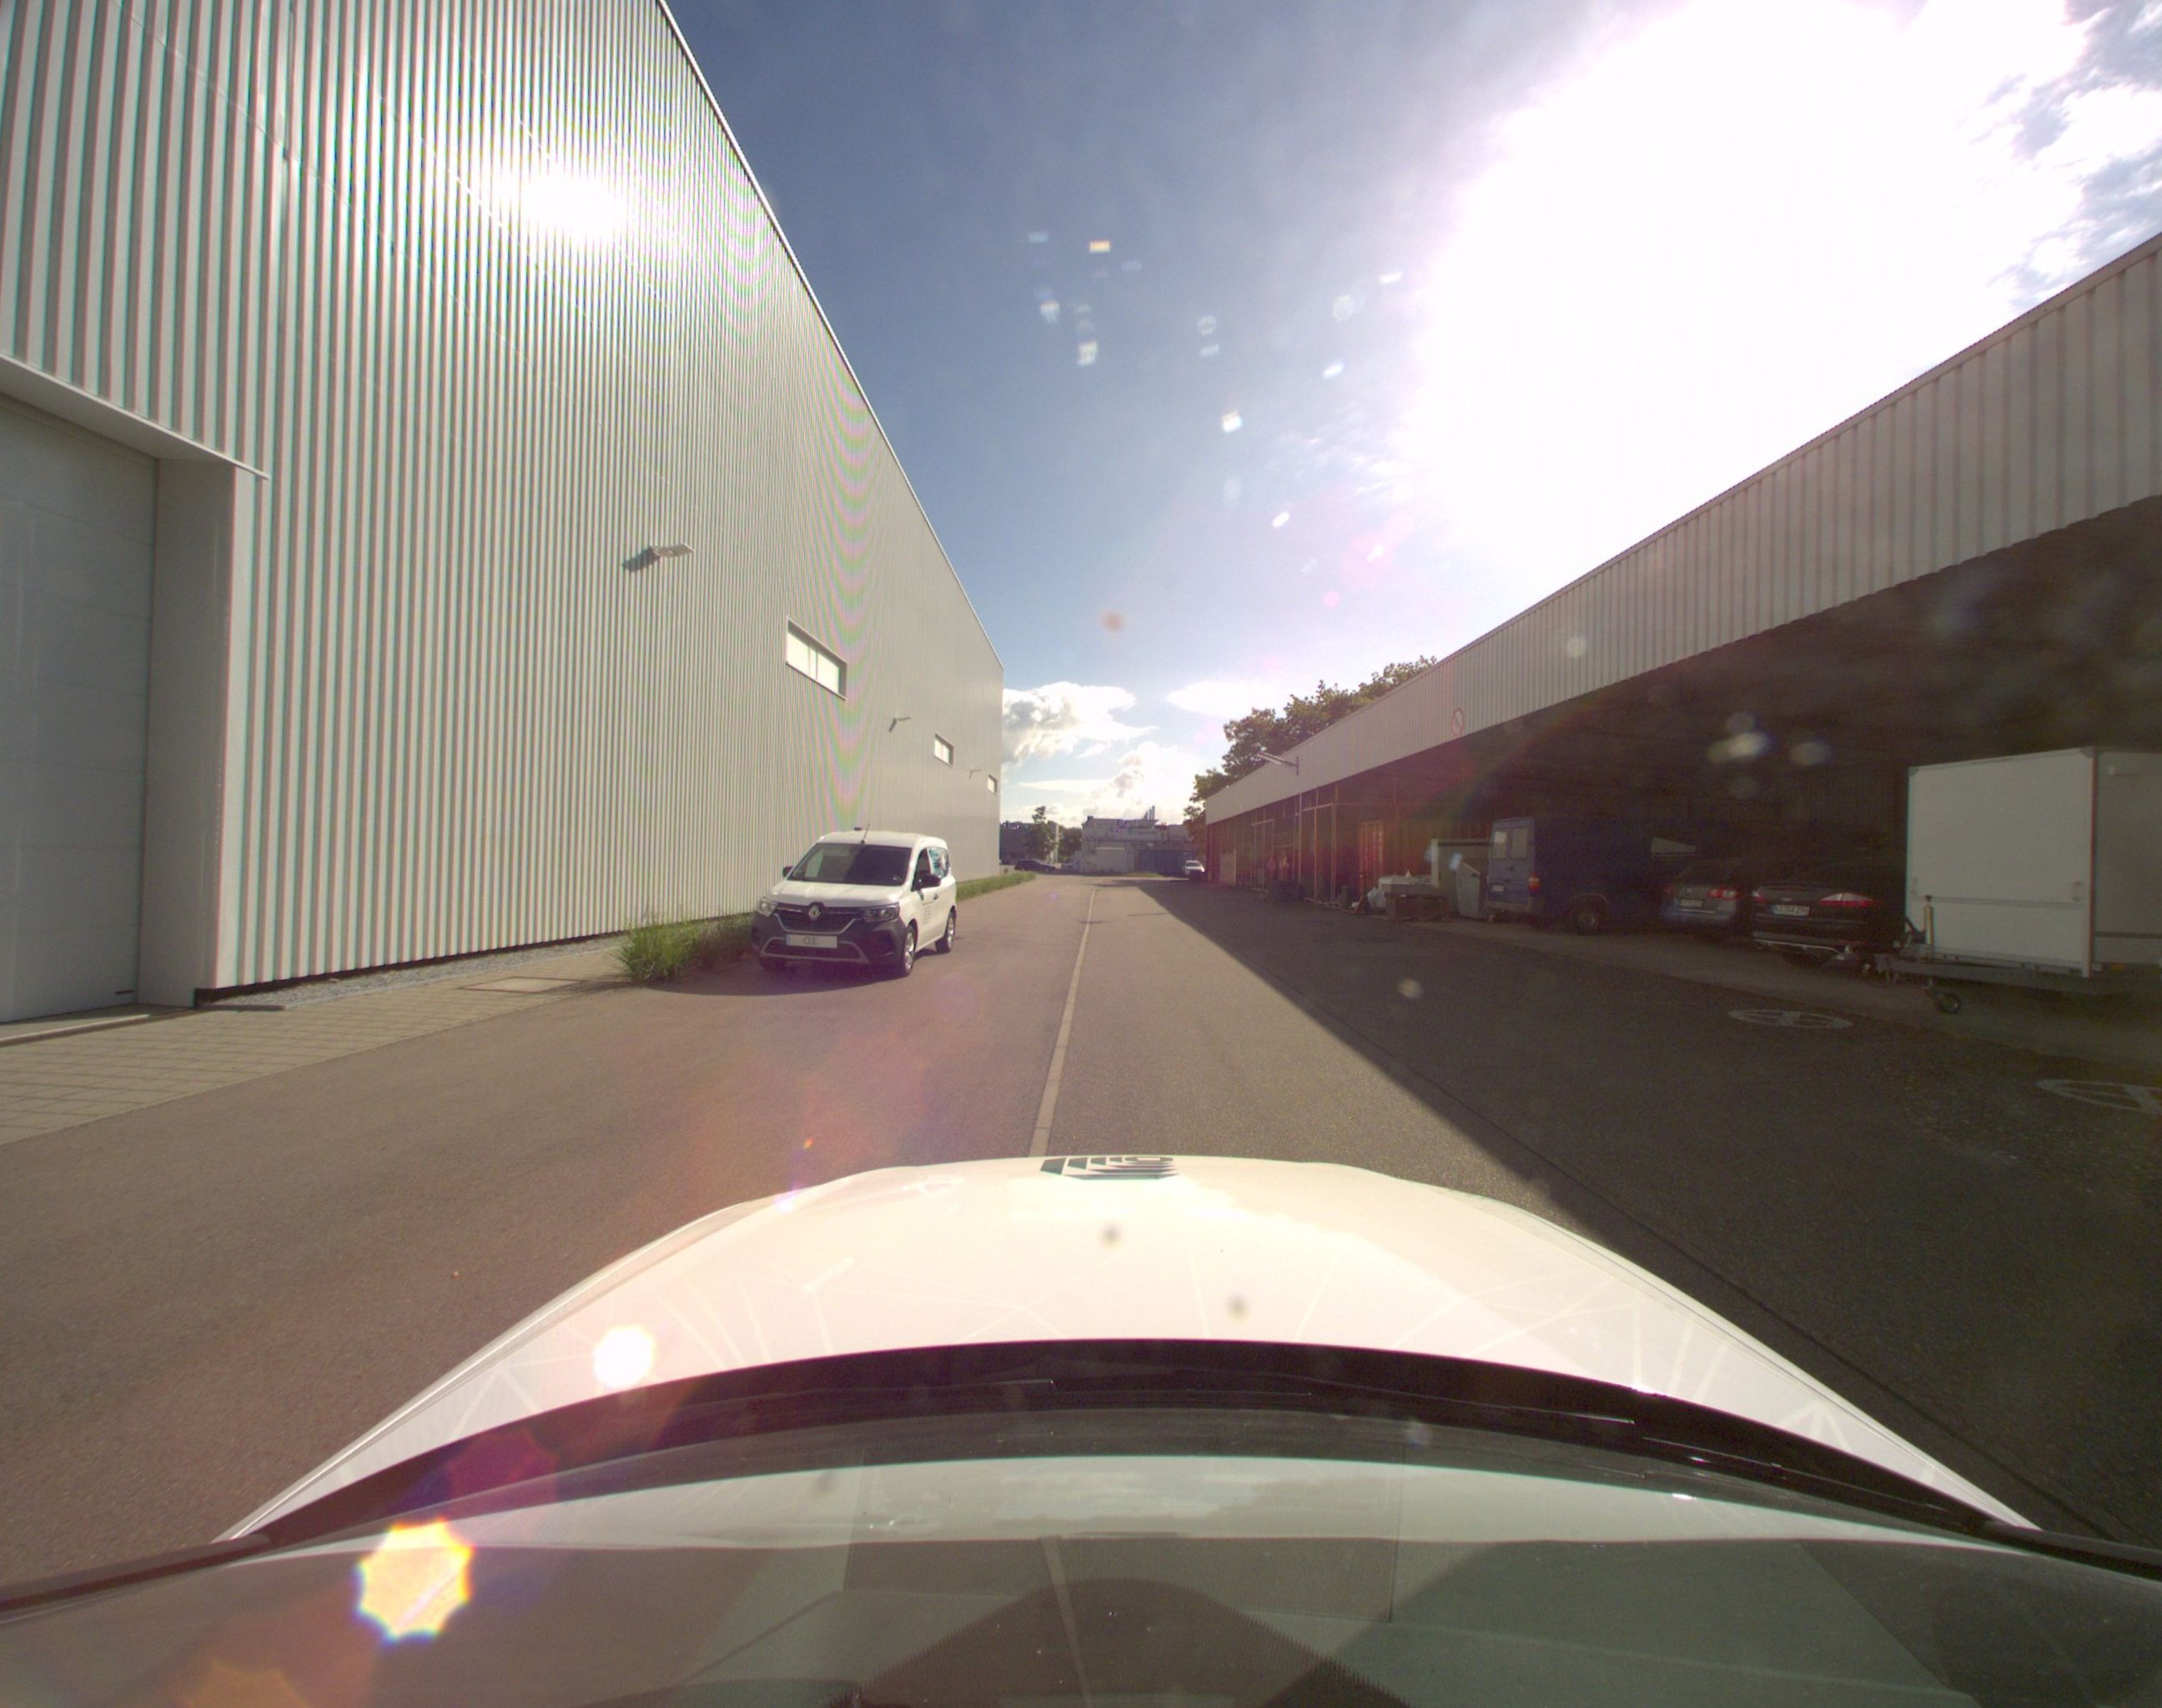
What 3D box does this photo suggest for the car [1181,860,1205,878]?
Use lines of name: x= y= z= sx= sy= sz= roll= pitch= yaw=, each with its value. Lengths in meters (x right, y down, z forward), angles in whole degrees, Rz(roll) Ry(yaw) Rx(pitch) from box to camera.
car: x=11.053 y=1.461 z=80.675 sx=1.971 sy=1.602 sz=4.380 roll=0 pitch=1 yaw=3

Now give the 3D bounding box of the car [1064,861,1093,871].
car: x=-0.347 y=1.791 z=121.187 sx=4.288 sy=1.457 sz=1.824 roll=0 pitch=-1 yaw=0

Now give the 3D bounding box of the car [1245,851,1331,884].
car: x=12.716 y=0.839 z=50.192 sx=4.764 sy=1.916 sz=1.995 roll=1 pitch=-1 yaw=-7

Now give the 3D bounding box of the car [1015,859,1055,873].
car: x=-5.252 y=1.347 z=93.354 sx=4.432 sy=1.531 sz=1.824 roll=0 pitch=-1 yaw=0

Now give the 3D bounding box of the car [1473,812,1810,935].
car: x=11.048 y=0.379 z=16.375 sx=5.314 sy=2.281 sz=2.152 roll=0 pitch=-1 yaw=0

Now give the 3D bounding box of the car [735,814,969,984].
car: x=-2.860 y=0.535 z=11.352 sx=1.777 sy=1.816 sz=4.602 roll=2 pitch=-1 yaw=1

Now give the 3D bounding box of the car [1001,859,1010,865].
car: x=-17.496 y=1.825 z=188.880 sx=1.852 sy=1.494 sz=4.028 roll=0 pitch=-1 yaw=0

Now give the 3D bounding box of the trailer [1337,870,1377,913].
trailer: x=7.491 y=1.007 z=22.138 sx=0.550 sy=1.118 sz=1.546 roll=0 pitch=-1 yaw=0

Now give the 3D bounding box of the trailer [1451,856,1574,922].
trailer: x=9.993 y=0.797 z=18.997 sx=2.028 sy=1.466 sz=1.741 roll=-1 pitch=-1 yaw=5

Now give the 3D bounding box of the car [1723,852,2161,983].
car: x=10.801 y=0.728 z=10.132 sx=4.237 sy=1.471 sz=1.868 roll=0 pitch=0 yaw=-2

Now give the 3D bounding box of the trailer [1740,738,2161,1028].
trailer: x=9.264 y=0.243 z=7.602 sx=4.498 sy=2.342 sz=2.048 roll=-1 pitch=-1 yaw=2

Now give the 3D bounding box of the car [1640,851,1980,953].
car: x=11.645 y=0.748 z=13.207 sx=3.953 sy=1.514 sz=1.839 roll=0 pitch=-1 yaw=-2

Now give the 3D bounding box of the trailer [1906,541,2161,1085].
trailer: x=11.764 y=-0.295 z=5.078 sx=10.230 sy=3.343 sz=2.802 roll=-1 pitch=-1 yaw=1
